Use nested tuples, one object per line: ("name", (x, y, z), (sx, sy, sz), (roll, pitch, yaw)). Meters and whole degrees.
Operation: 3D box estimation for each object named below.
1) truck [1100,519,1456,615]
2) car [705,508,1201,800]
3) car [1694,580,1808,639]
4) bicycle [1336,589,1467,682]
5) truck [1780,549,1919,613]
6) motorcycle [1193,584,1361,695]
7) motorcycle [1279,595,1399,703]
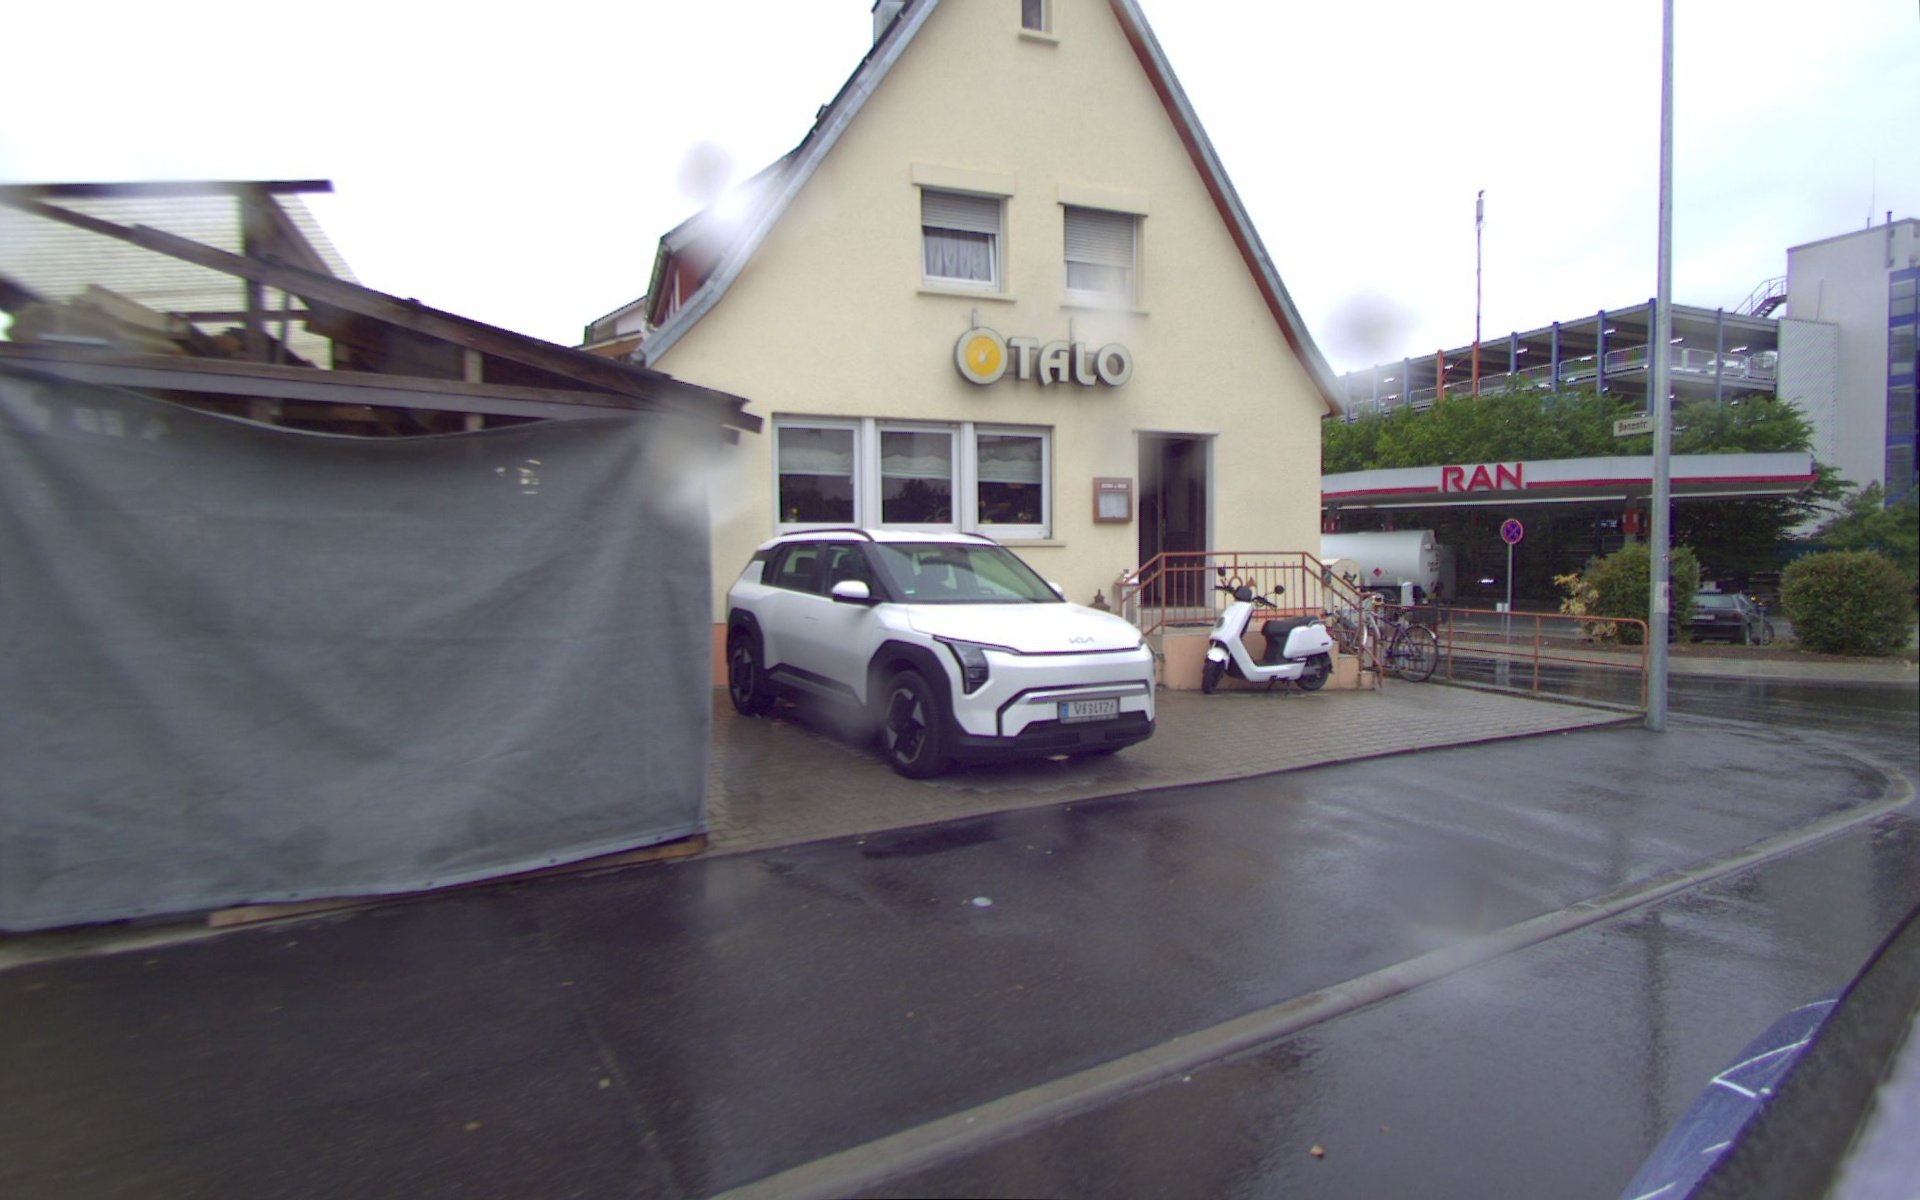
("truck", (12.535, -1.246, 42.054), (14.356, 3.402, 2.607), (1, -1, 42))
("car", (-0.364, 0.150, 7.893), (1.826, 1.629, 4.233), (-2, 4, -34))
("car", (20.585, 0.183, 26.276), (4.267, 1.356, 1.691), (-2, 2, -43))
("bicycle", (5.699, 0.421, 13.178), (0.479, 1.109, 1.780), (1, 1, -19))
("truck", (35.325, -0.676, 37.522), (2.047, 2.234, 7.297), (2, 2, -38))
("motorcycle", (3.394, 0.391, 10.767), (1.960, 1.109, 0.490), (0, 1, -29))
("motorcycle", (5.676, 0.687, 15.283), (0.479, 1.474, 2.044), (-1, 1, -20))
